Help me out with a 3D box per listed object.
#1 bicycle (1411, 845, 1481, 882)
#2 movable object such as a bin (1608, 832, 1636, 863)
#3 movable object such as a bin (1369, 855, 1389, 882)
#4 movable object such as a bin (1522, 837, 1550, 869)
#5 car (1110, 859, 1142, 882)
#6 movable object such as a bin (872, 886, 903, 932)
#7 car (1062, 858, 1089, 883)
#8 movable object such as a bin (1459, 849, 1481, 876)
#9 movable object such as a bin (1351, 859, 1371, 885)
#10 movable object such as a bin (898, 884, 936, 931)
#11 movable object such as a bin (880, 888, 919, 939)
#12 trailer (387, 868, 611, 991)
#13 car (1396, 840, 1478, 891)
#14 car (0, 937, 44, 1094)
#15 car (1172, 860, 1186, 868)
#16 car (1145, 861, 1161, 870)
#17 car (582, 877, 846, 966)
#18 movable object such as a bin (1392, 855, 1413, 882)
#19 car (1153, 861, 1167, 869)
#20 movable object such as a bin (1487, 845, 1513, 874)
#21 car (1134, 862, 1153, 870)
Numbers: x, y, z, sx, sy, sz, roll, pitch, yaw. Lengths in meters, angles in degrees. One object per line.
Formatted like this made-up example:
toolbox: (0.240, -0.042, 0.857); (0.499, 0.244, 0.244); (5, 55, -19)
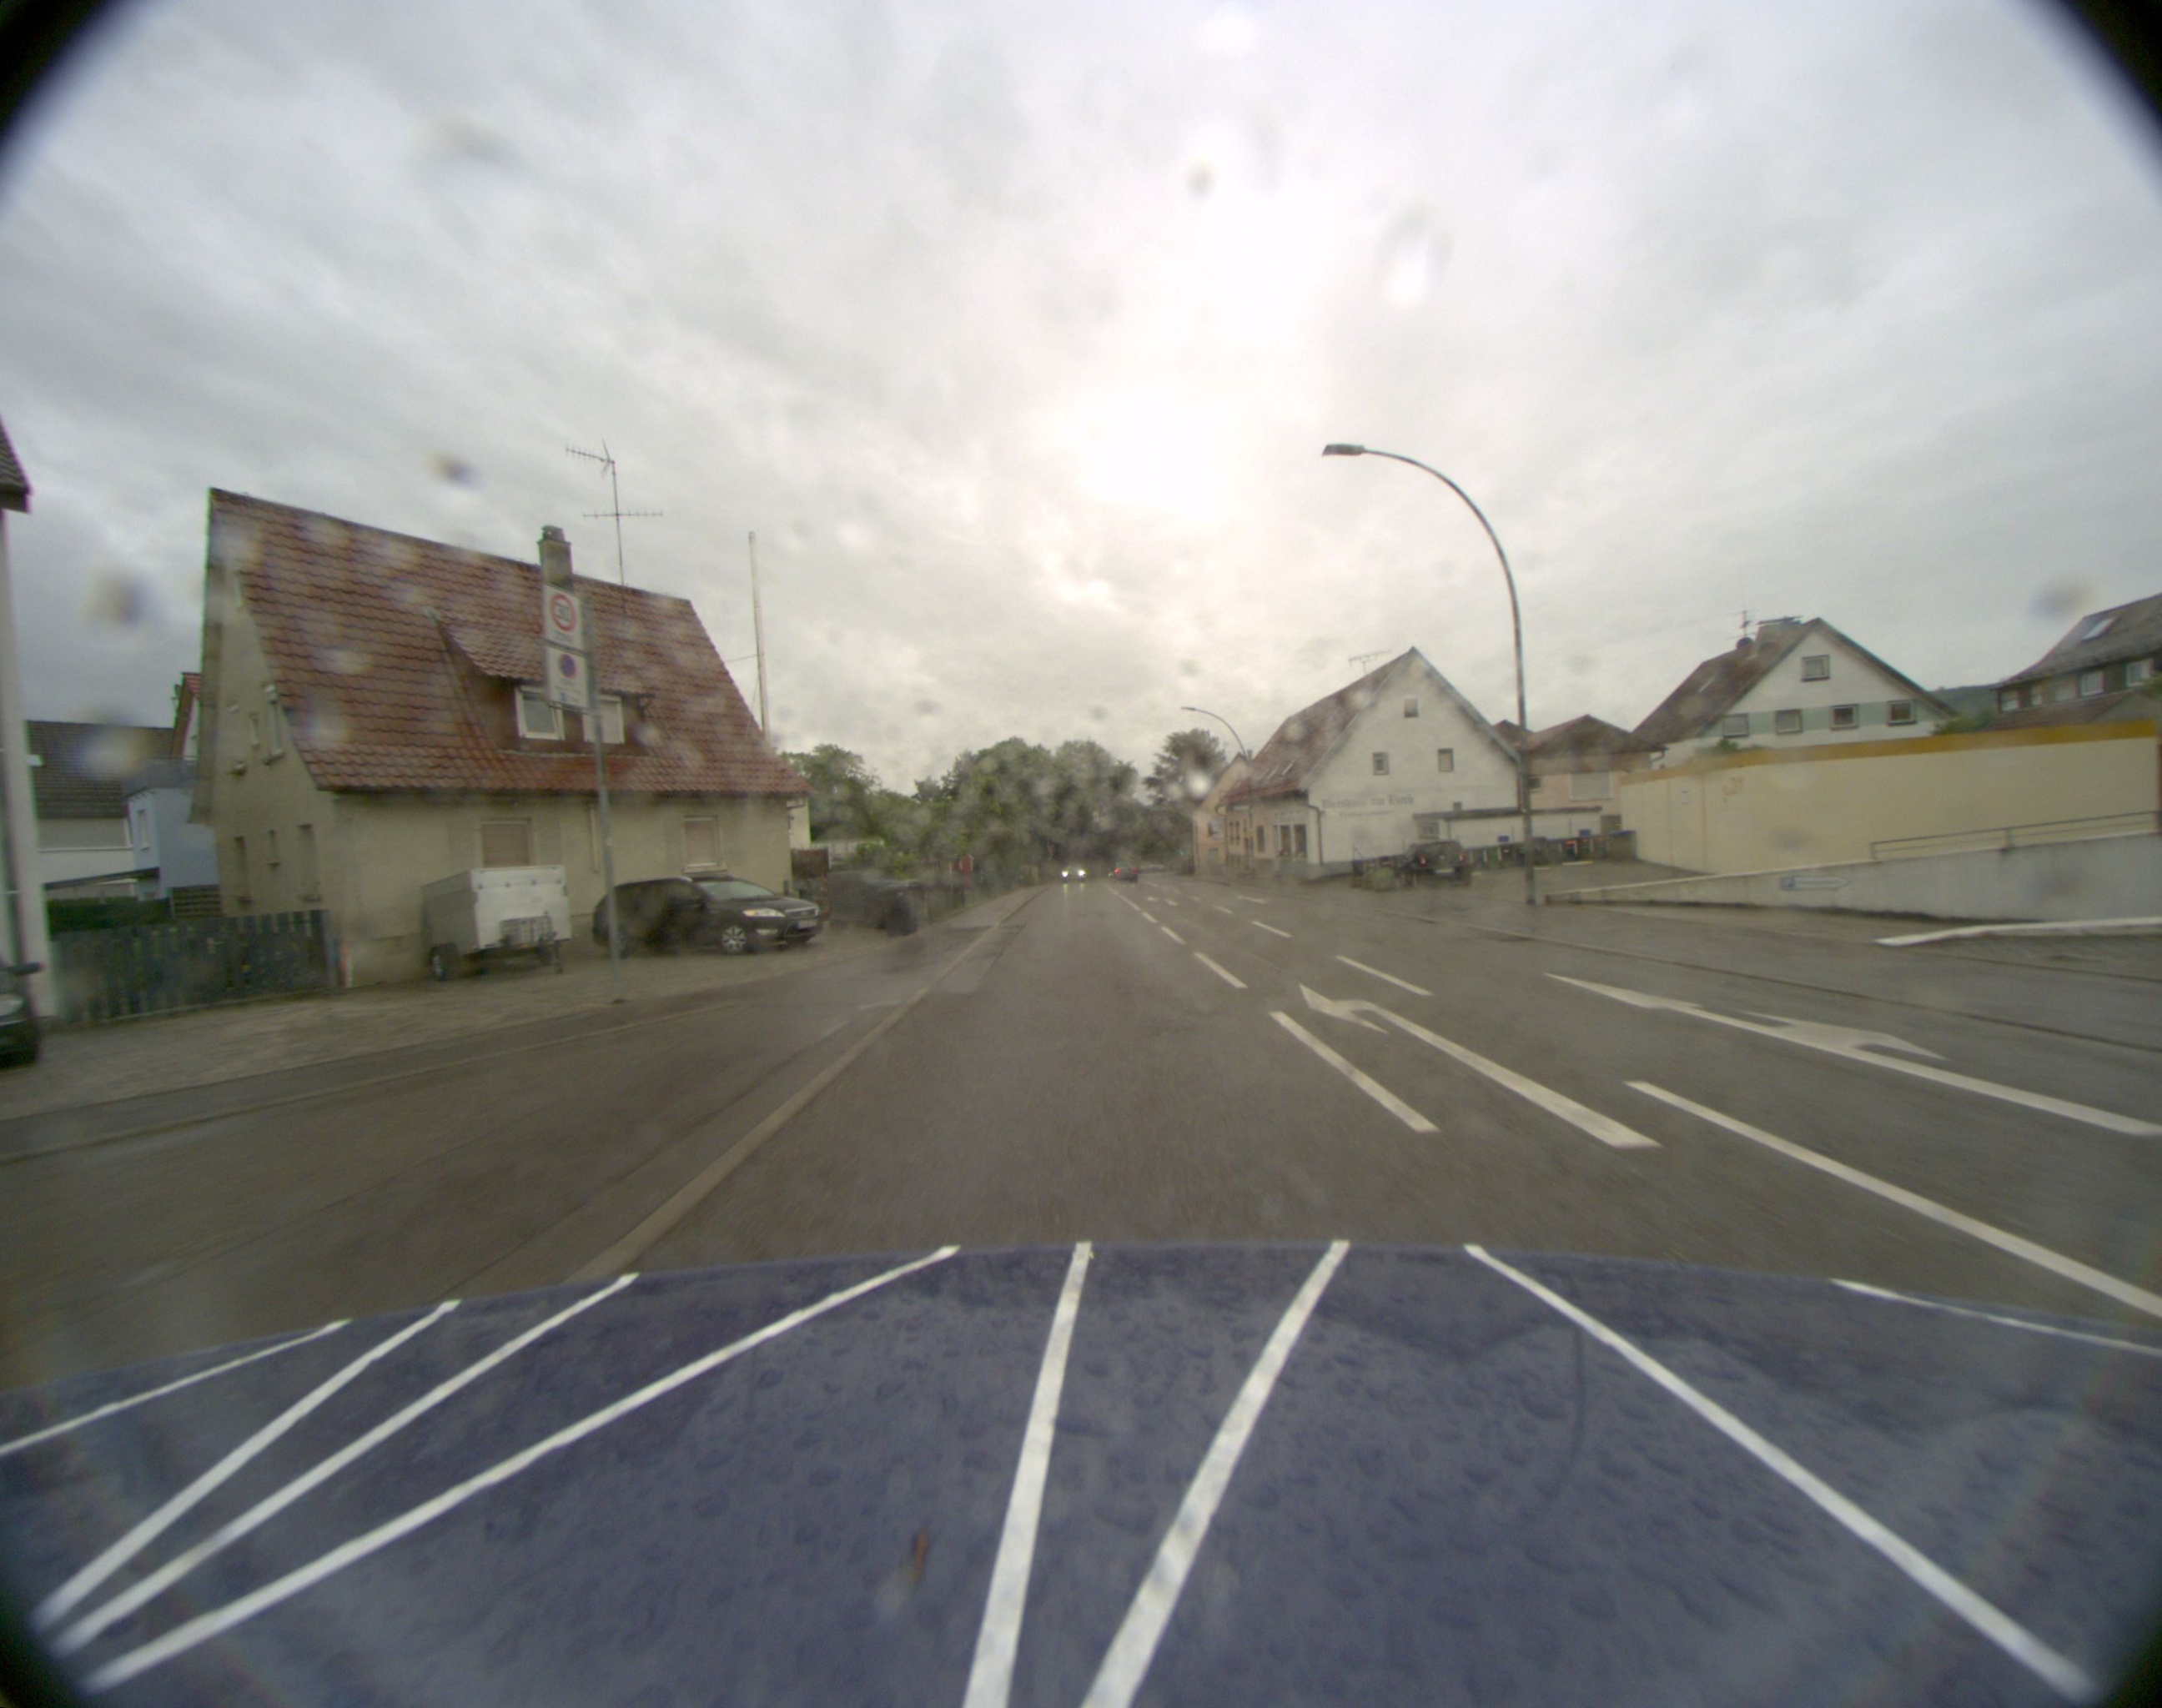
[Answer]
bicycle: (13.260, 0.349, 27.650); (2.101, 1.107, 0.738); (-6, 1, 17)
movable object such as a bin: (18.763, -0.218, 26.353); (0.670, 1.072, 0.625); (-1, 0, 23)
movable object such as a bin: (11.783, 0.562, 30.020); (0.639, 1.026, 0.605); (-1, 0, 14)
movable object such as a bin: (16.968, -0.045, 28.370); (0.639, 1.123, 0.605); (-7, -1, 14)
car: (3.206, 1.177, 54.513); (1.949, 1.564, 4.226); (-2, -1, 0)
movable object such as a bin: (-4.378, 1.237, 17.202); (0.443, 1.015, 0.525); (-1, 0, 20)
car: (-0.427, 1.371, 64.656); (1.998, 2.002, 4.000); (-3, 0, 3)
movable object such as a bin: (14.914, 0.312, 29.146); (0.639, 1.026, 0.605); (-1, 0, 14)
movable object such as a bin: (11.132, 0.720, 30.212); (0.639, 1.026, 0.674); (-1, 0, 14)
movable object such as a bin: (-3.705, 1.193, 17.208); (0.530, 1.015, 0.734); (-1, 0, 19)
movable object such as a bin: (-3.773, 1.225, 15.831); (0.628, 1.015, 0.541); (-1, 0, 5)
trailer: (-10.093, 1.293, 13.156); (3.455, 1.788, 1.690); (-5, 0, 28)
car: (11.491, 0.347, 24.783); (1.904, 1.433, 3.833); (-5, -1, 18)
car: (-11.933, 1.635, 7.509); (4.389, 1.316, 1.788); (-3, 1, 35)
car: (19.498, 1.991, 151.124); (1.831, 1.620, 4.160); (-1, -1, 19)
car: (12.651, 2.009, 133.225); (1.761, 1.410, 4.160); (-1, -1, 20)
car: (-7.041, 1.294, 14.587); (4.562, 1.375, 2.003); (-4, -1, 24)
movable object such as a bin: (12.611, 0.556, 29.834); (0.639, 1.026, 0.605); (-2, 0, 13)
car: (14.402, 2.020, 138.273); (1.761, 1.410, 4.159); (-1, -1, 19)
movable object such as a bin: (15.857, 0.221, 28.763); (0.639, 1.026, 0.605); (-7, -1, 13)
car: (10.542, 1.987, 127.763); (1.996, 1.410, 4.491); (-1, -1, 20)
